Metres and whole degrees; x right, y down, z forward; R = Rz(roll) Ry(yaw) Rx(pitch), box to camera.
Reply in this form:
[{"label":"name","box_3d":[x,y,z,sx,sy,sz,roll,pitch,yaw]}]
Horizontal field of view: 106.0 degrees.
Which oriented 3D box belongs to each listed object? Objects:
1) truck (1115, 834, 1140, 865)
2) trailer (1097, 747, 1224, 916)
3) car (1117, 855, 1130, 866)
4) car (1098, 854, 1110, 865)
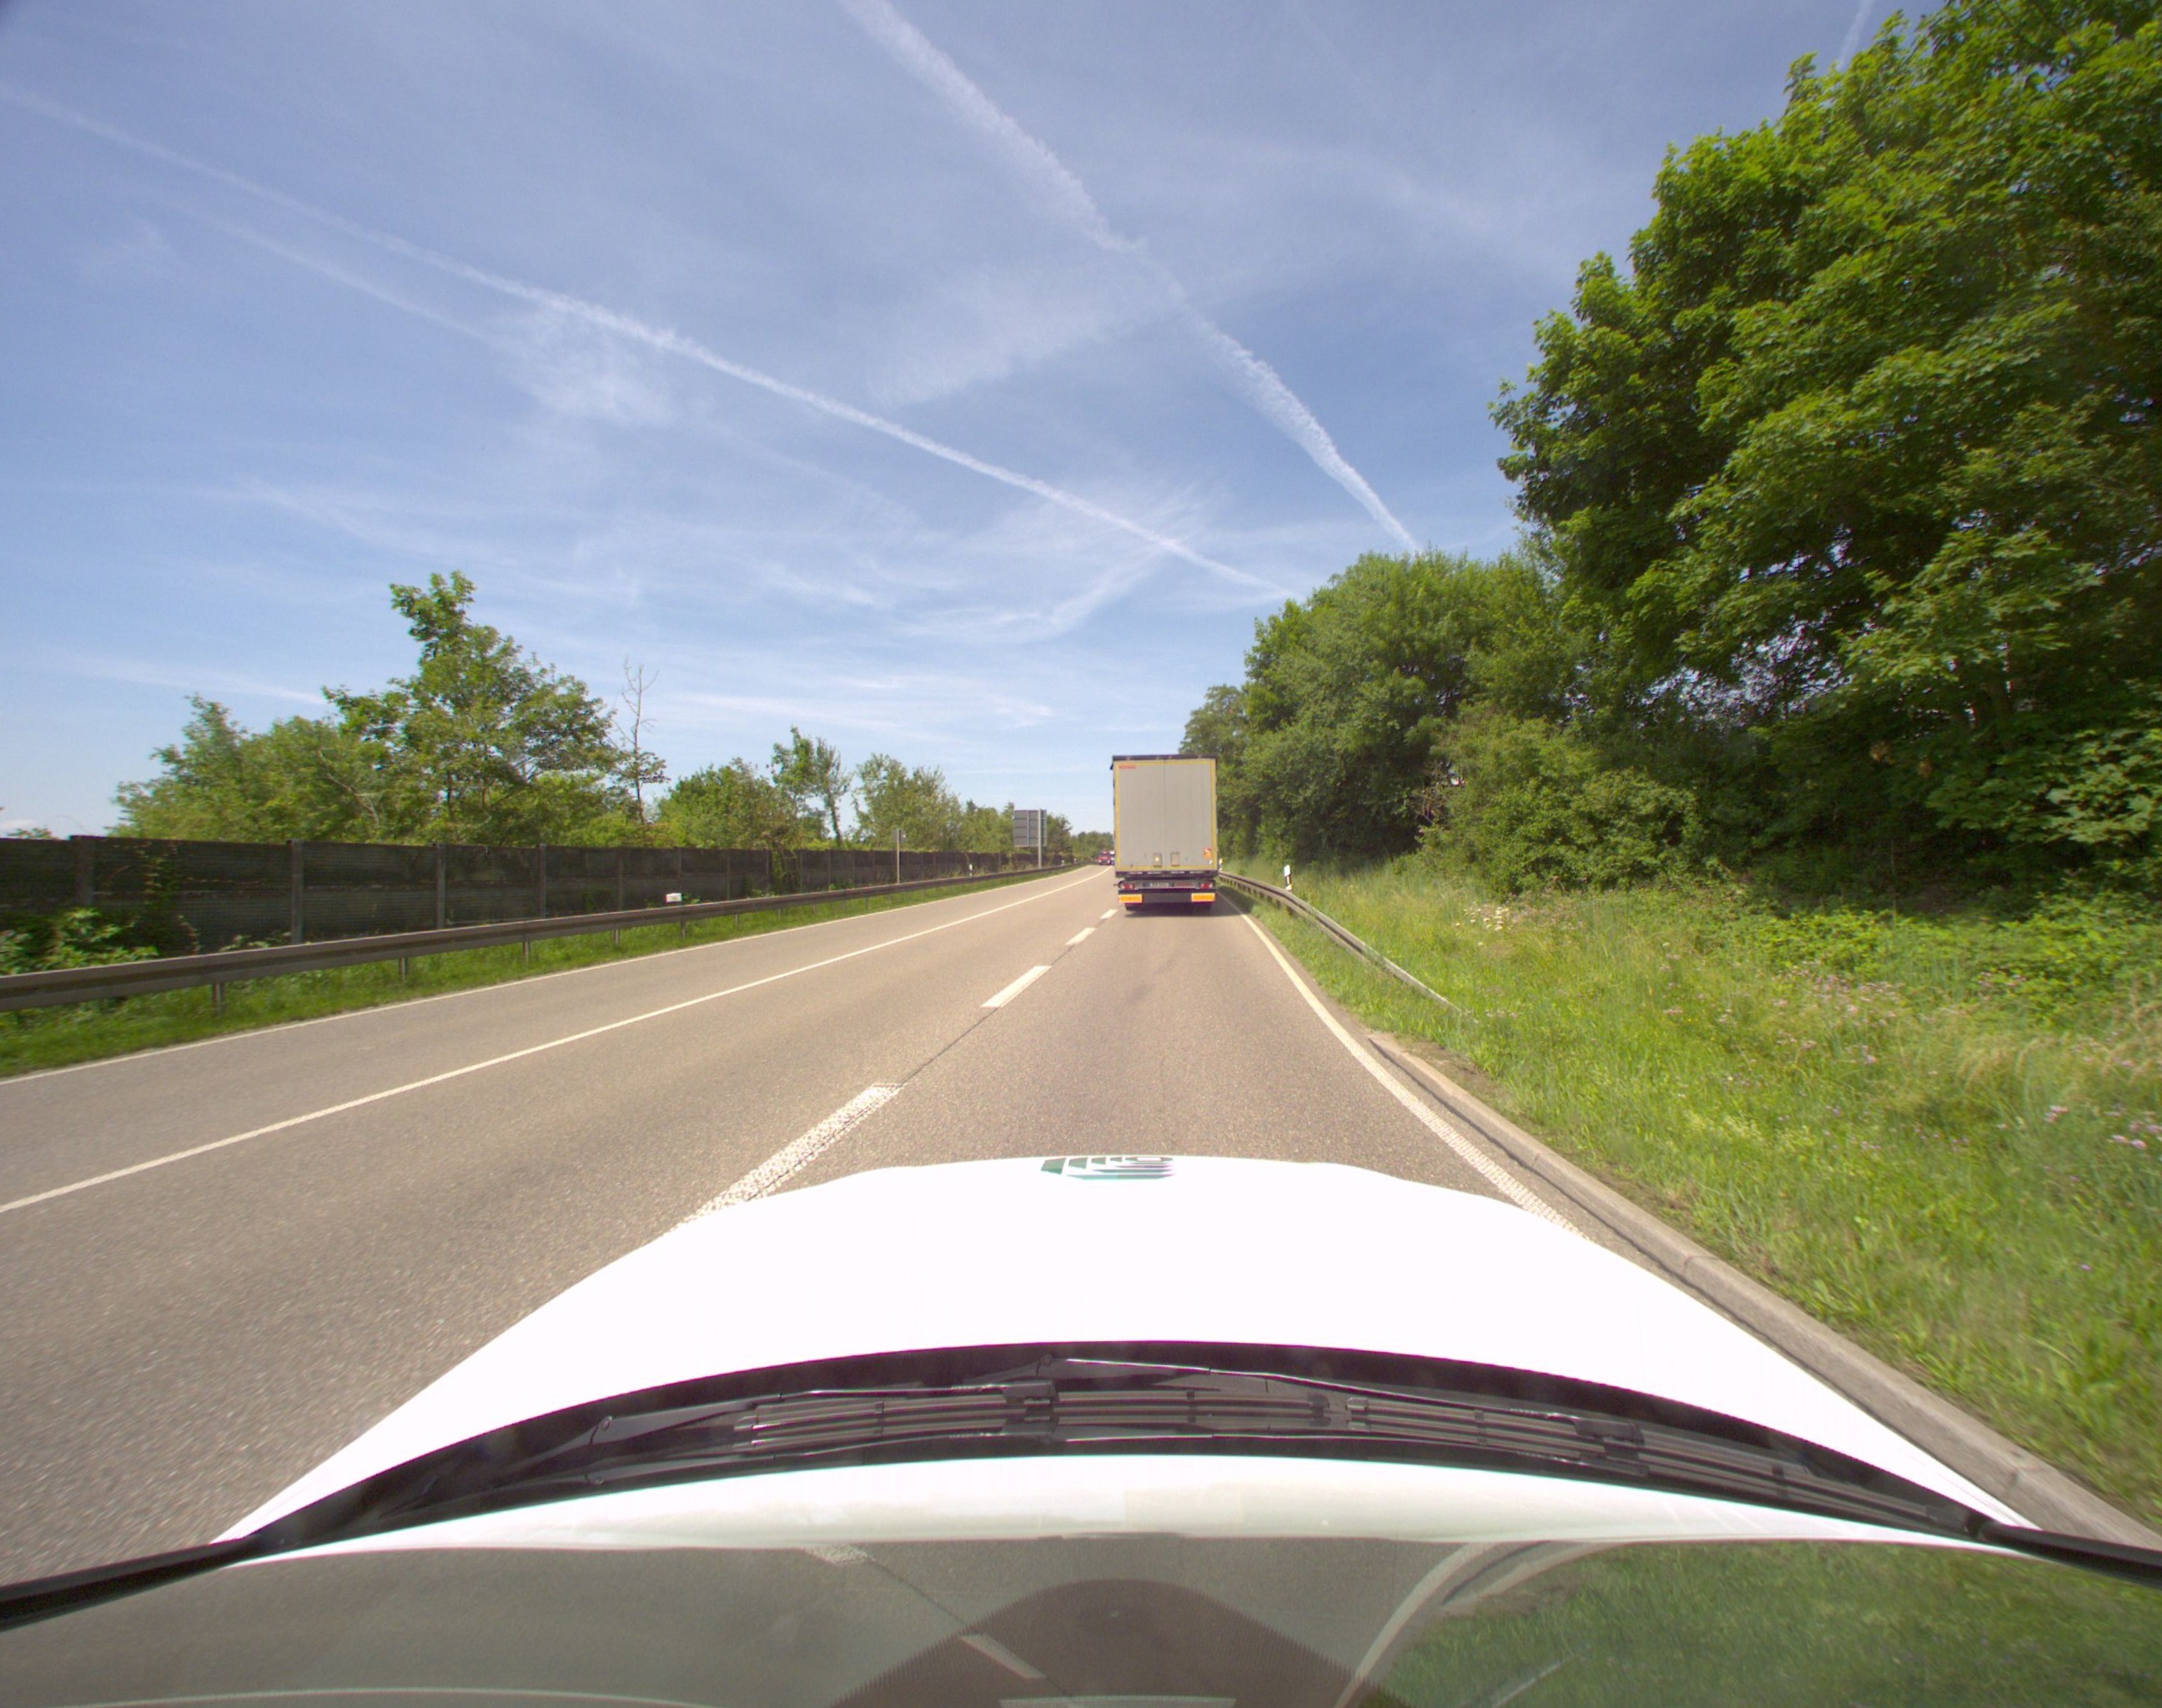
[{"label":"truck","box_3d":[7.606,-0.660,134.086,3.813,4.744,16.214,-1,0,3]},{"label":"trailer","box_3d":[2.894,-0.513,26.451,3.010,4.034,13.383,-1,0,8]},{"label":"car","box_3d":[6.041,0.958,115.764,1.659,1.486,4.004,-1,0,4]},{"label":"car","box_3d":[5.248,1.191,185.204,2.607,2.423,5.829,-2,0,1]}]
